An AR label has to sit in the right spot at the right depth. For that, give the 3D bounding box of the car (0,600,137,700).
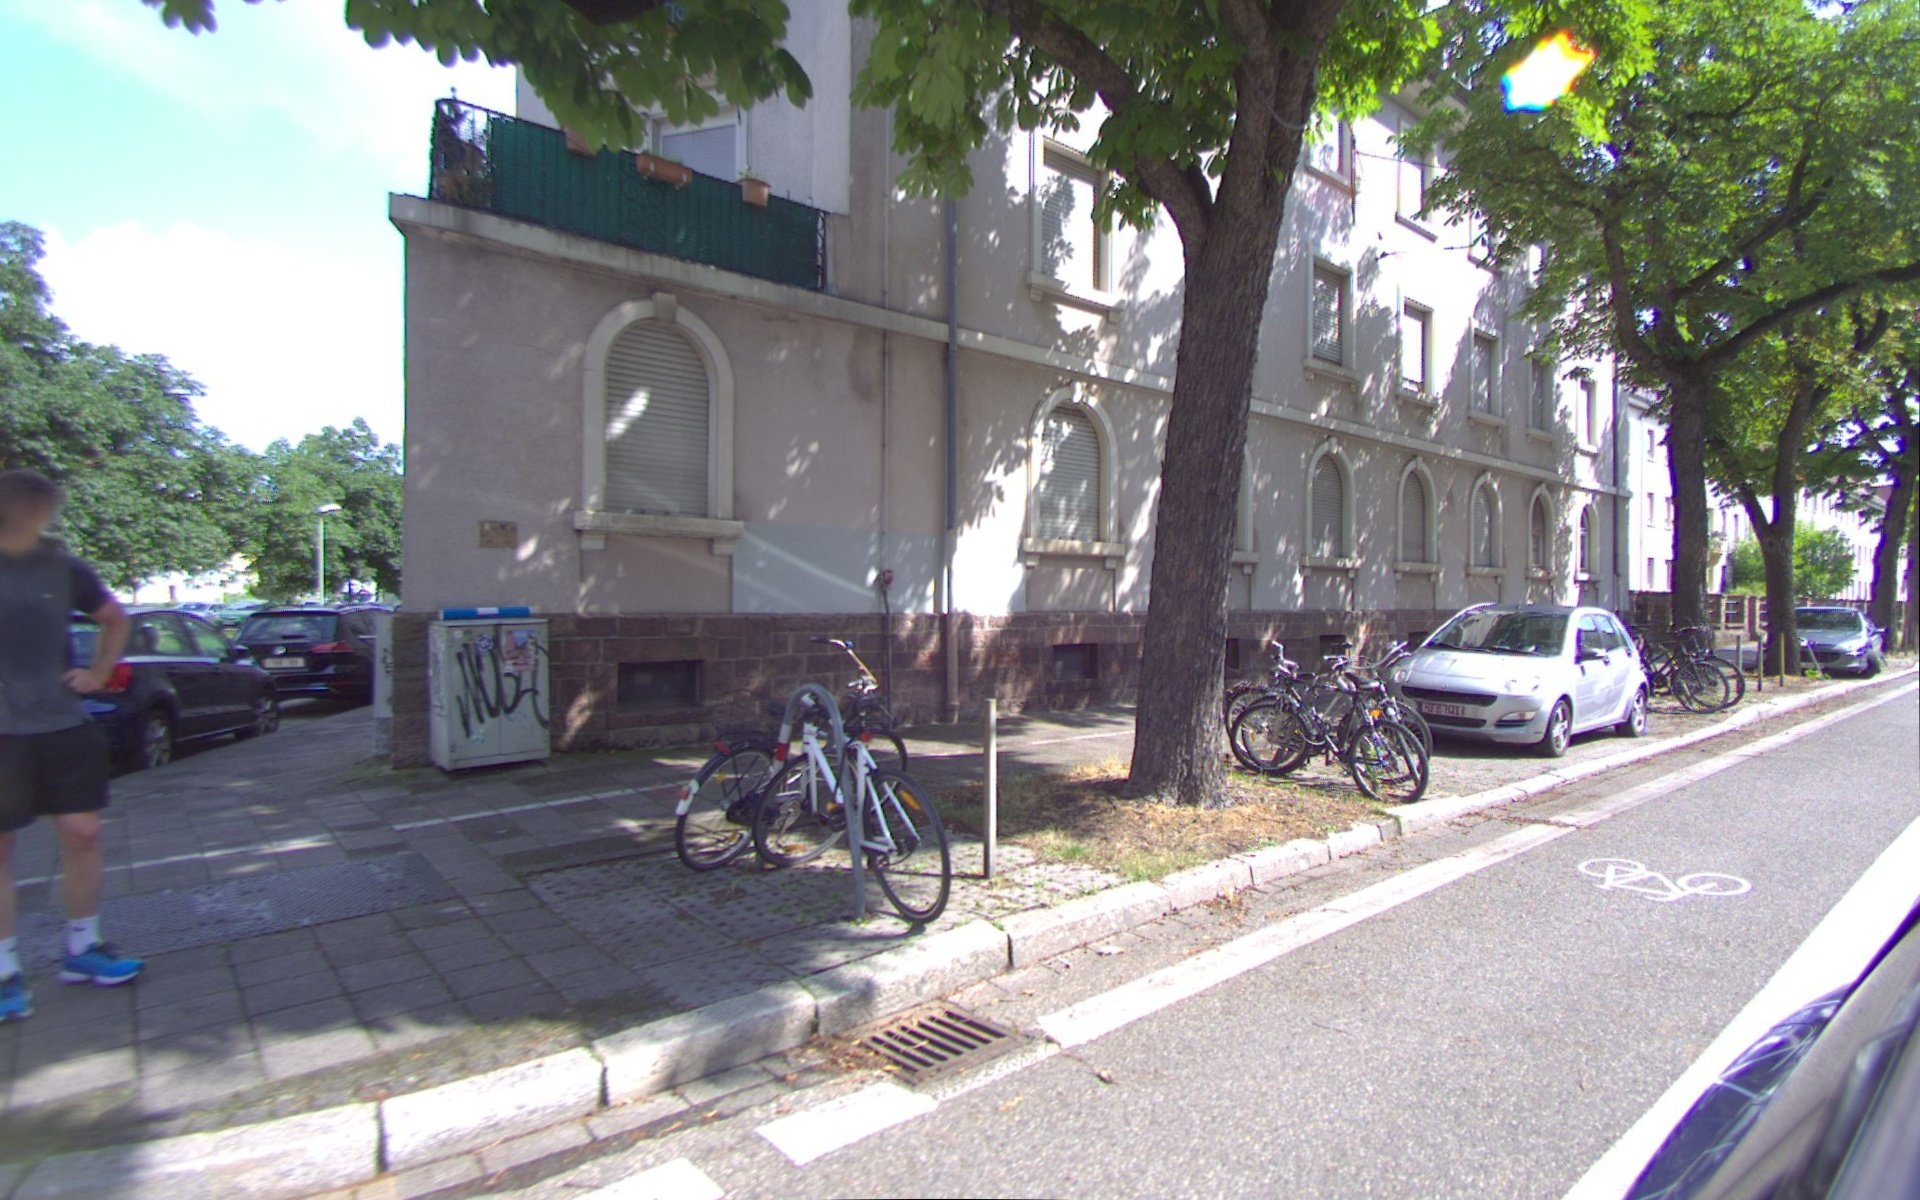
[{"bbox_3d":[-14.528,0.718,15.440,1.553,1.397,3.829,-1,0,-13],"label":"car"}]

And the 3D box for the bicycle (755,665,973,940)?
[{"bbox_3d":[-0.503,0.854,4.727,0.254,0.995,1.495,0,1,-38],"label":"bicycle"}]

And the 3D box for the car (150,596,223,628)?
[{"bbox_3d":[-40.131,0.595,52.610,1.676,1.576,3.879,0,0,-16],"label":"car"}]

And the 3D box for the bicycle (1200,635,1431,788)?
[{"bbox_3d":[2.921,0.873,8.510,0.395,1.085,1.907,0,0,-40],"label":"bicycle"}]

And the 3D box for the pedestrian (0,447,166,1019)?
[{"bbox_3d":[-3.347,0.431,3.497,0.864,1.858,0.611,-2,1,-43],"label":"pedestrian"}]

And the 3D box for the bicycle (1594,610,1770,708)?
[{"bbox_3d":[9.904,0.769,13.967,0.503,1.190,1.946,0,1,-28],"label":"bicycle"}]

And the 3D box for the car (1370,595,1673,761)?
[{"bbox_3d":[6.201,0.695,11.029,3.699,1.448,1.670,0,2,-40],"label":"car"}]

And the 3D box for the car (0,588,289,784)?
[{"bbox_3d":[-7.607,0.634,9.096,1.673,1.424,3.572,-1,0,-17],"label":"car"}]

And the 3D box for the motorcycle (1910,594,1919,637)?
[{"bbox_3d":[36.185,0.575,37.036,0.666,1.617,2.385,0,0,4],"label":"motorcycle"}]

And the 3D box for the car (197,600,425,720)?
[{"bbox_3d":[-9.030,0.732,14.434,1.628,1.442,3.726,-1,0,-14],"label":"car"}]

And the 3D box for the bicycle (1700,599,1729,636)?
[{"bbox_3d":[25.527,0.577,34.225,1.674,1.227,0.413,0,0,-40],"label":"bicycle"}]

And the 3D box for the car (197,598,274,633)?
[{"bbox_3d":[-33.900,0.689,47.466,1.676,1.576,3.878,0,0,-15],"label":"car"}]

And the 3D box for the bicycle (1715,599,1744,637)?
[{"bbox_3d":[25.673,0.579,33.757,1.674,1.227,0.413,0,0,-40],"label":"bicycle"}]

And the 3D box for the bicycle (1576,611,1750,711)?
[{"bbox_3d":[9.459,0.783,13.707,0.503,1.190,1.903,0,1,-28],"label":"bicycle"}]

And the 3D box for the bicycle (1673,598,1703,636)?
[{"bbox_3d":[23.814,0.552,33.105,1.674,1.227,0.413,0,0,-40],"label":"bicycle"}]

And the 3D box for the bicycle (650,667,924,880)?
[{"bbox_3d":[-0.888,0.886,5.640,0.258,0.911,1.746,0,1,41],"label":"bicycle"}]

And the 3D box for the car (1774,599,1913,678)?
[{"bbox_3d":[18.876,0.736,21.555,4.322,1.427,1.848,0,2,-44],"label":"car"}]

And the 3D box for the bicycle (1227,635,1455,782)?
[{"bbox_3d":[3.235,0.877,8.783,0.395,1.085,1.907,0,0,-40],"label":"bicycle"}]

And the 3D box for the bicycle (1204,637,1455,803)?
[{"bbox_3d":[2.813,0.869,7.909,0.395,1.085,1.907,0,0,-40],"label":"bicycle"}]
